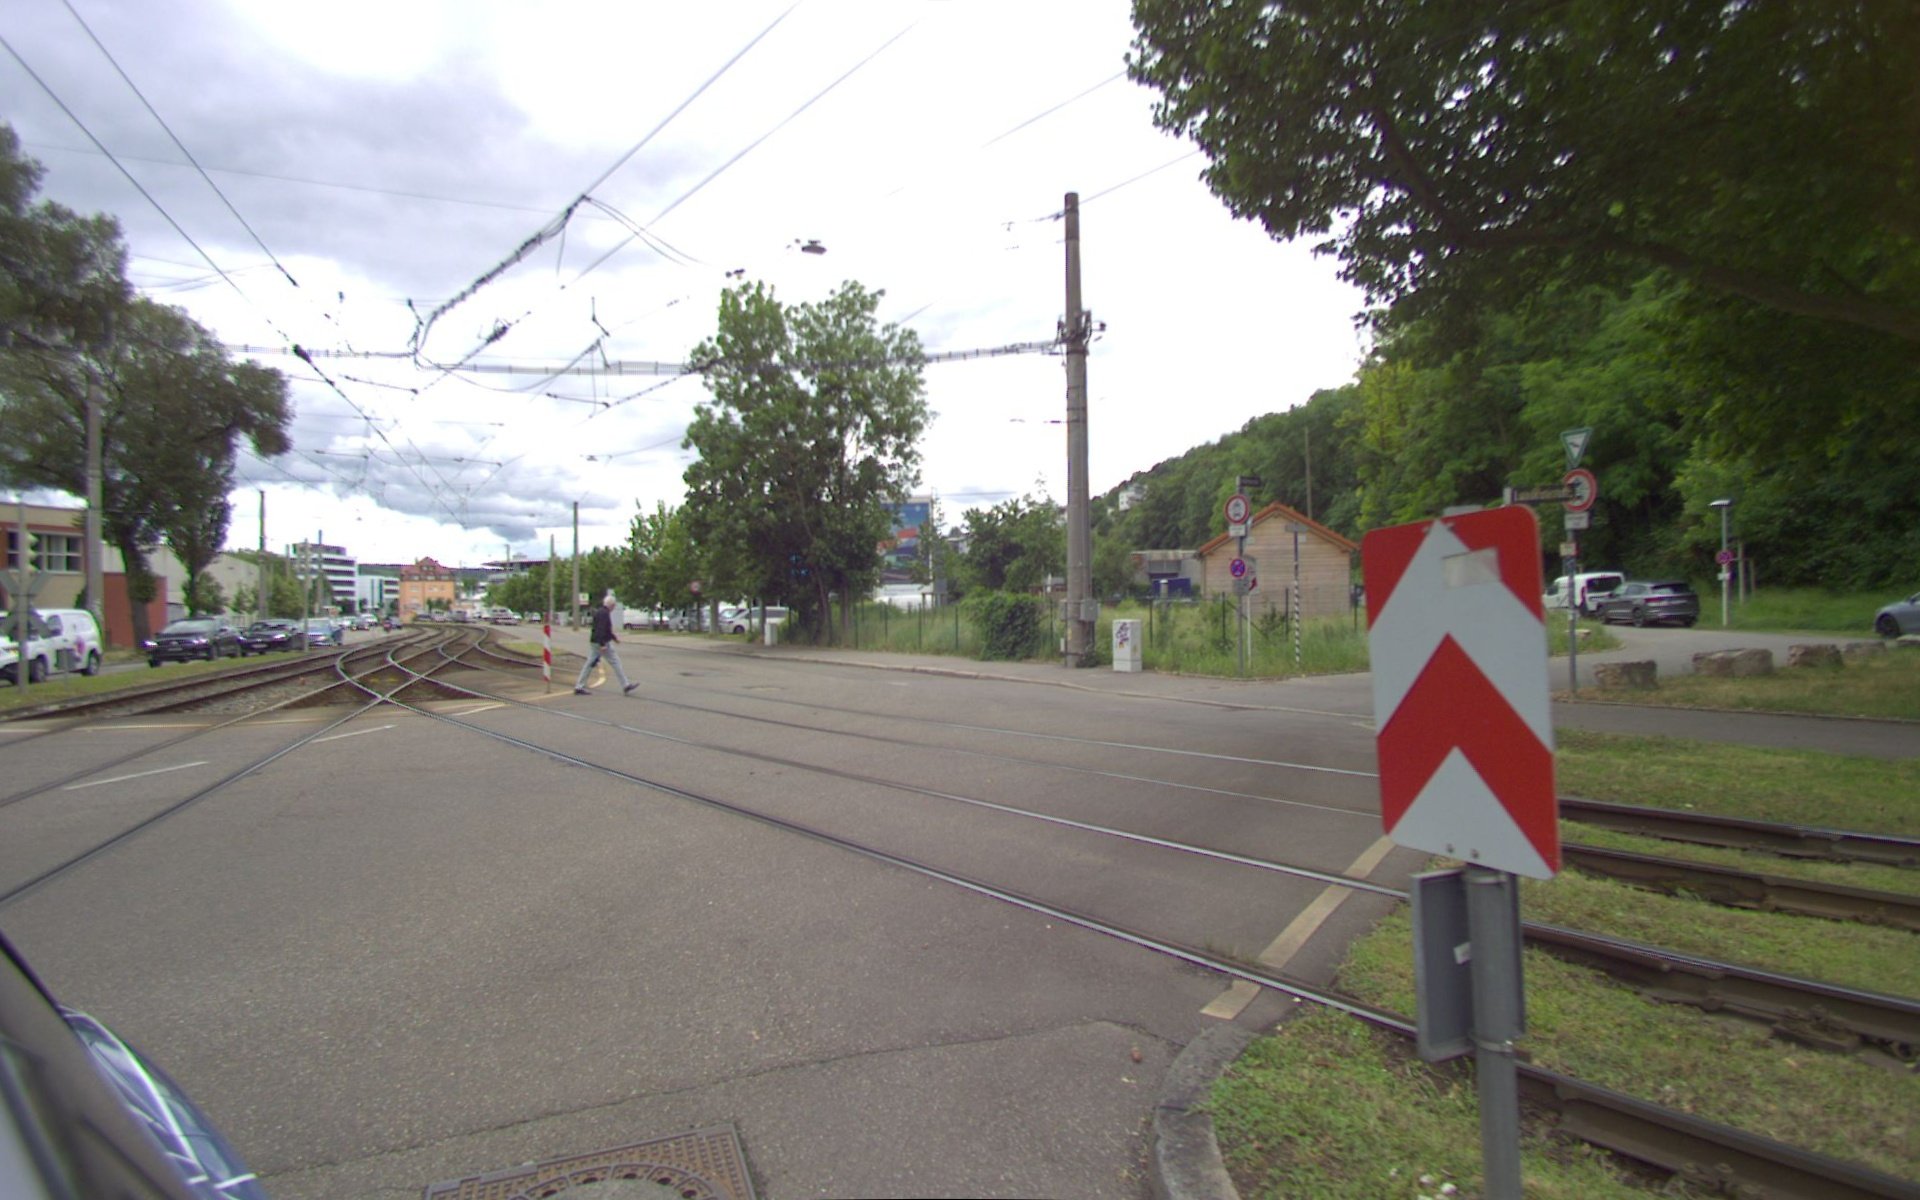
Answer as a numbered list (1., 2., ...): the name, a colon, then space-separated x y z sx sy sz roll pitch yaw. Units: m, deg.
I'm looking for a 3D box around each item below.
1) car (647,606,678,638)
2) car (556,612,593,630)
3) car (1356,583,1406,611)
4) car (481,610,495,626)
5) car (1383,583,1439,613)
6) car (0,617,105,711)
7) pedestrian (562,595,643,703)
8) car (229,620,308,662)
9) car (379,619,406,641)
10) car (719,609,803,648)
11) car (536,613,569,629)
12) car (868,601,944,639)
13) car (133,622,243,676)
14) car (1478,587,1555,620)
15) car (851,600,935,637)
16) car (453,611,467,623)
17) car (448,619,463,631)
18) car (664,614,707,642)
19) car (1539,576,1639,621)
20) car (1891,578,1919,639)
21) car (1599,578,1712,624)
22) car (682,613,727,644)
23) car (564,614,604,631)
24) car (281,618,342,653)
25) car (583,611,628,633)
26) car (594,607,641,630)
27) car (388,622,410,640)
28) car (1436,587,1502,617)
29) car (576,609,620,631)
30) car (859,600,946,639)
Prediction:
1. car: -30.262 2.169 102.807 2.282 3.033 6.179 -4 1 -22
2. car: -54.785 2.926 143.711 4.561 2.225 2.115 -4 1 -30
3. car: 27.156 -0.210 65.381 1.734 1.625 3.678 -3 1 3
4. car: -95.439 3.674 204.820 2.370 2.970 4.764 -4 1 -24
5. car: 27.065 -0.138 60.858 1.734 1.625 3.678 -3 1 3
6. car: -23.059 1.507 24.705 1.965 2.017 5.051 -3 1 -24
7. pedestrian: -6.273 0.833 17.753 1.102 1.773 0.815 -3 1 -33
8. car: -29.836 1.720 43.796 1.965 1.567 4.576 -3 1 -24
9. car: -51.260 2.677 91.390 1.838 1.763 4.013 -4 1 -27
10. car: -13.549 1.909 68.841 5.181 2.284 2.007 -4 1 -25
11. car: -65.236 3.292 162.059 4.561 2.225 2.115 -4 1 -30
12. car: -4.071 1.467 76.653 5.582 2.479 1.981 -3 1 -2
13. car: -26.405 1.619 34.798 1.965 1.567 4.576 -3 1 -24
14. car: 25.873 0.139 47.163 1.736 1.387 3.675 -3 1 5
15. car: -4.807 1.309 73.239 5.771 2.284 2.053 -3 1 1
16. car: -94.247 3.163 190.768 1.966 2.028 4.012 -4 1 -29
17. car: -82.471 4.118 165.494 1.873 1.730 4.150 -3 2 -24
18. car: -22.469 2.268 82.687 2.106 2.131 4.791 -4 1 -30
19. car: 25.187 -0.082 40.672 1.886 1.625 3.675 -3 1 5
20. car: 23.967 0.197 23.444 1.680 1.434 3.498 -3 1 5
21. car: 24.368 -0.008 35.603 1.680 1.434 3.498 -3 1 5
22. car: -19.506 2.151 77.115 2.106 2.131 4.791 -4 1 -29
23. car: -49.236 2.939 132.491 4.561 1.854 2.115 -4 1 -30
24. car: -33.547 1.808 52.467 1.965 1.567 4.576 -3 1 -24
25. car: -41.136 2.561 117.479 4.561 2.225 2.115 -4 1 -30
26. car: -38.315 2.037 113.113 4.561 2.225 2.115 -4 1 -30
27. car: -60.888 3.357 109.889 1.838 1.763 4.013 -4 1 -27
28. car: 26.295 0.089 52.406 1.736 1.387 3.675 -3 1 5
29. car: -43.670 2.393 122.118 4.561 2.225 2.115 -4 1 -30
30. car: -3.911 1.309 69.555 5.782 2.284 2.053 -3 1 1
